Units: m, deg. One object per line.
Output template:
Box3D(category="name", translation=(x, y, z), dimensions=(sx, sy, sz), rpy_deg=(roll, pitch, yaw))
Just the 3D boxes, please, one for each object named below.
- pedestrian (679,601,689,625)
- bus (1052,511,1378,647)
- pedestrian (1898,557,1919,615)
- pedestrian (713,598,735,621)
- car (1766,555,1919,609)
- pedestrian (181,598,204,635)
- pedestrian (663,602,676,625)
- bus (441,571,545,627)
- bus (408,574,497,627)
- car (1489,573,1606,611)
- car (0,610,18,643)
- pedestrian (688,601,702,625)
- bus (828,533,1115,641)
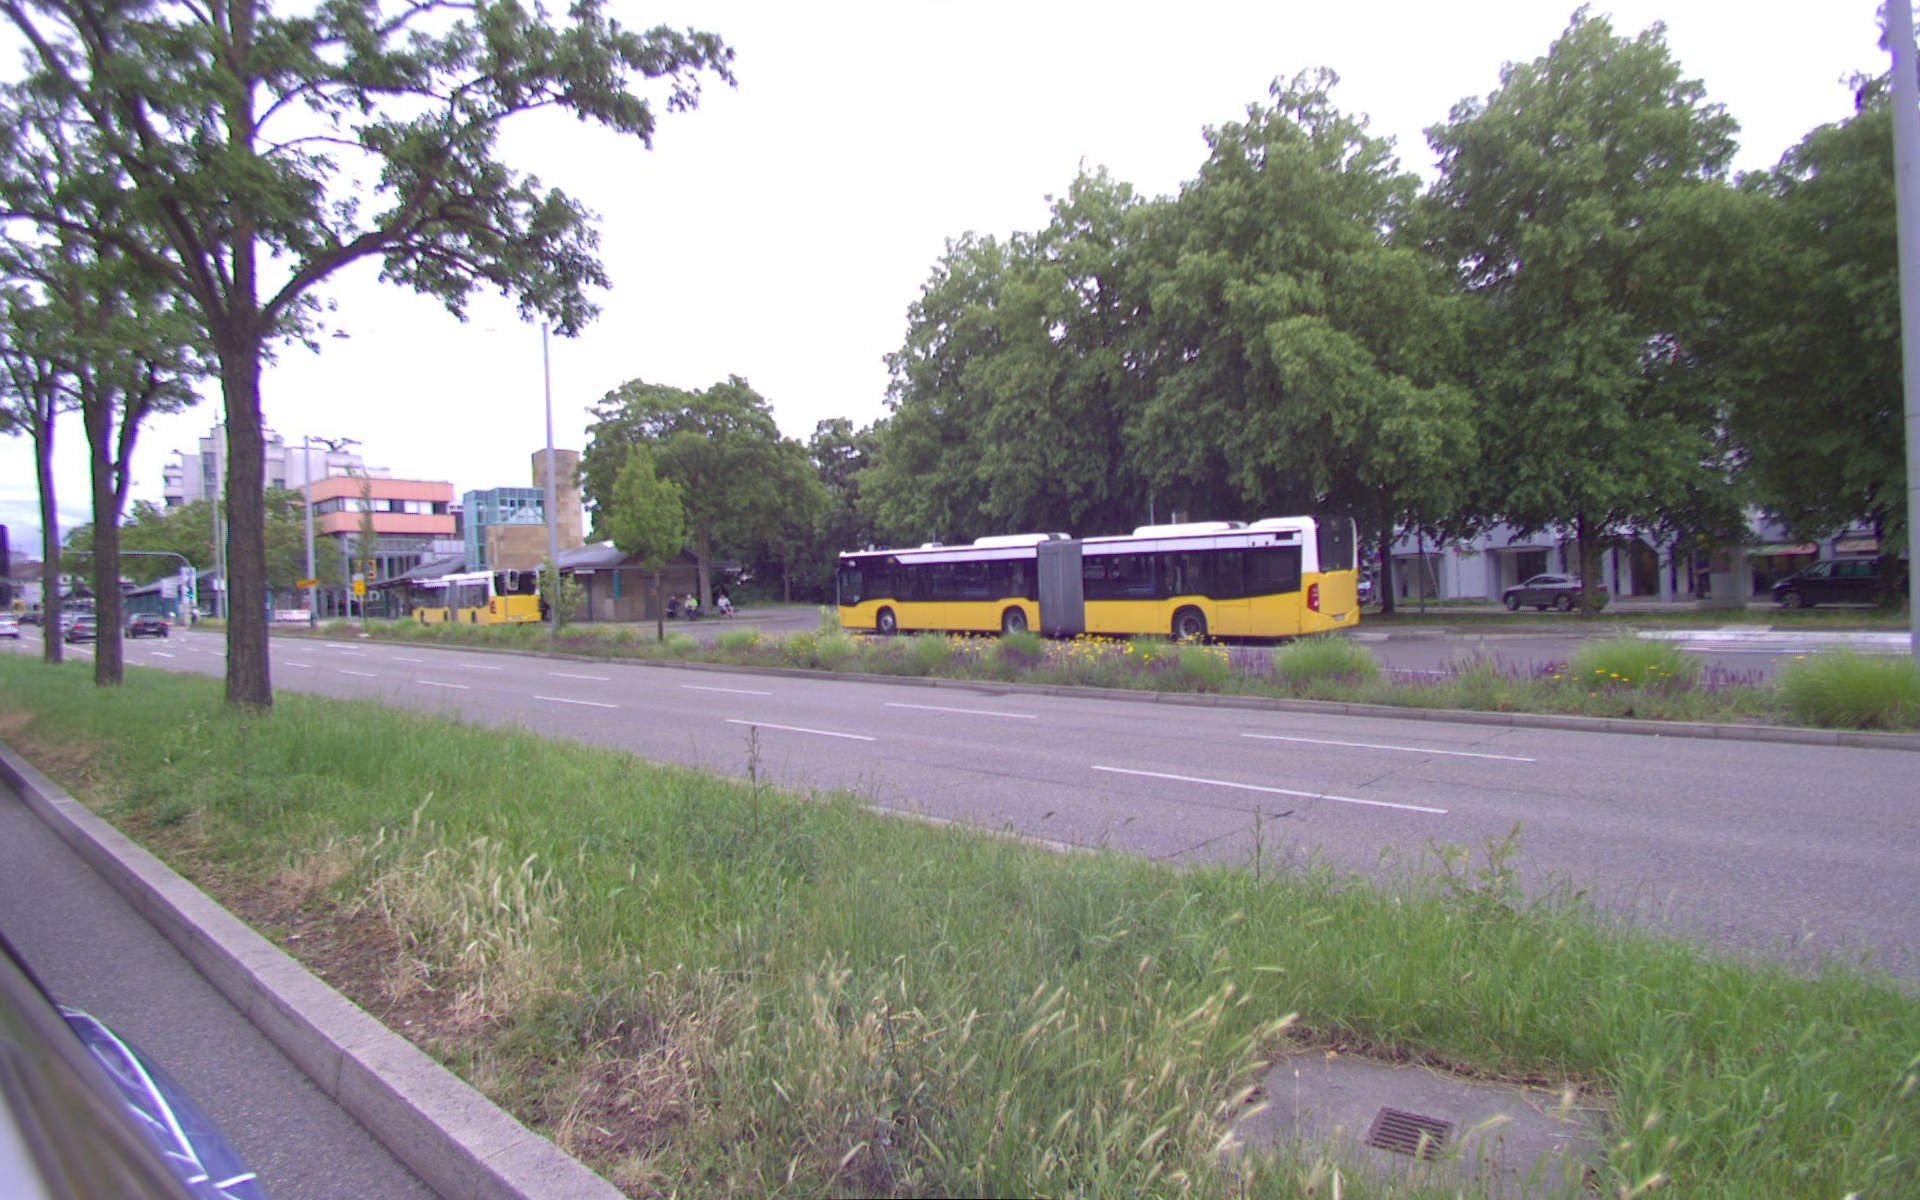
Box3D(category="pedestrian", translation=(-13.725, 0.637, 50.367), dimensions=(0.361, 1.175, 0.900), rpy_deg=(-1, 0, -23))
Box3D(category="bus", translation=(6.355, -0.421, 26.404), dimensions=(2.849, 3.025, 7.889), rpy_deg=(-1, 0, -44))
Box3D(category="pedestrian", translation=(26.185, -0.382, 27.555), dimensions=(0.904, 1.569, 0.761), rpy_deg=(-2, 0, 41))
Box3D(category="pedestrian", translation=(-11.916, 0.476, 51.104), dimensions=(0.924, 1.180, 0.641), rpy_deg=(-1, 0, 41))
Box3D(category="car", translation=(33.133, -0.631, 37.785), dimensions=(1.758, 1.861, 4.429), rpy_deg=(-1, 0, -35))
Box3D(category="pedestrian", translation=(-58.877, 1.229, 77.607), dimensions=(1.136, 2.809, 0.900), rpy_deg=(-1, 0, 15))
Box3D(category="pedestrian", translation=(-14.975, 0.672, 52.141), dimensions=(0.589, 1.171, 0.745), rpy_deg=(-1, 0, -17))
Box3D(category="bus", translation=(-25.666, -0.008, 55.322), dimensions=(2.846, 2.830, 9.191), rpy_deg=(-1, 0, -40))
Box3D(category="bus", translation=(-31.272, 0.064, 62.114), dimensions=(2.846, 3.025, 9.191), rpy_deg=(-1, 0, -40))
Box3D(category="car", translation=(25.001, -0.308, 43.222), dimensions=(1.729, 1.524, 4.013), rpy_deg=(-1, 0, -25))
Box3D(category="car", translation=(-59.984, 1.673, 63.011), dimensions=(4.000, 2.029, 1.703), rpy_deg=(-1, 0, 43))
Box3D(category="pedestrian", translation=(-13.231, 0.630, 50.527), dimensions=(0.589, 1.171, 0.745), rpy_deg=(-1, 0, -23))
Box3D(category="bus", translation=(-0.006, -0.304, 33.069), dimensions=(2.848, 3.025, 10.401), rpy_deg=(-1, 0, -44))
